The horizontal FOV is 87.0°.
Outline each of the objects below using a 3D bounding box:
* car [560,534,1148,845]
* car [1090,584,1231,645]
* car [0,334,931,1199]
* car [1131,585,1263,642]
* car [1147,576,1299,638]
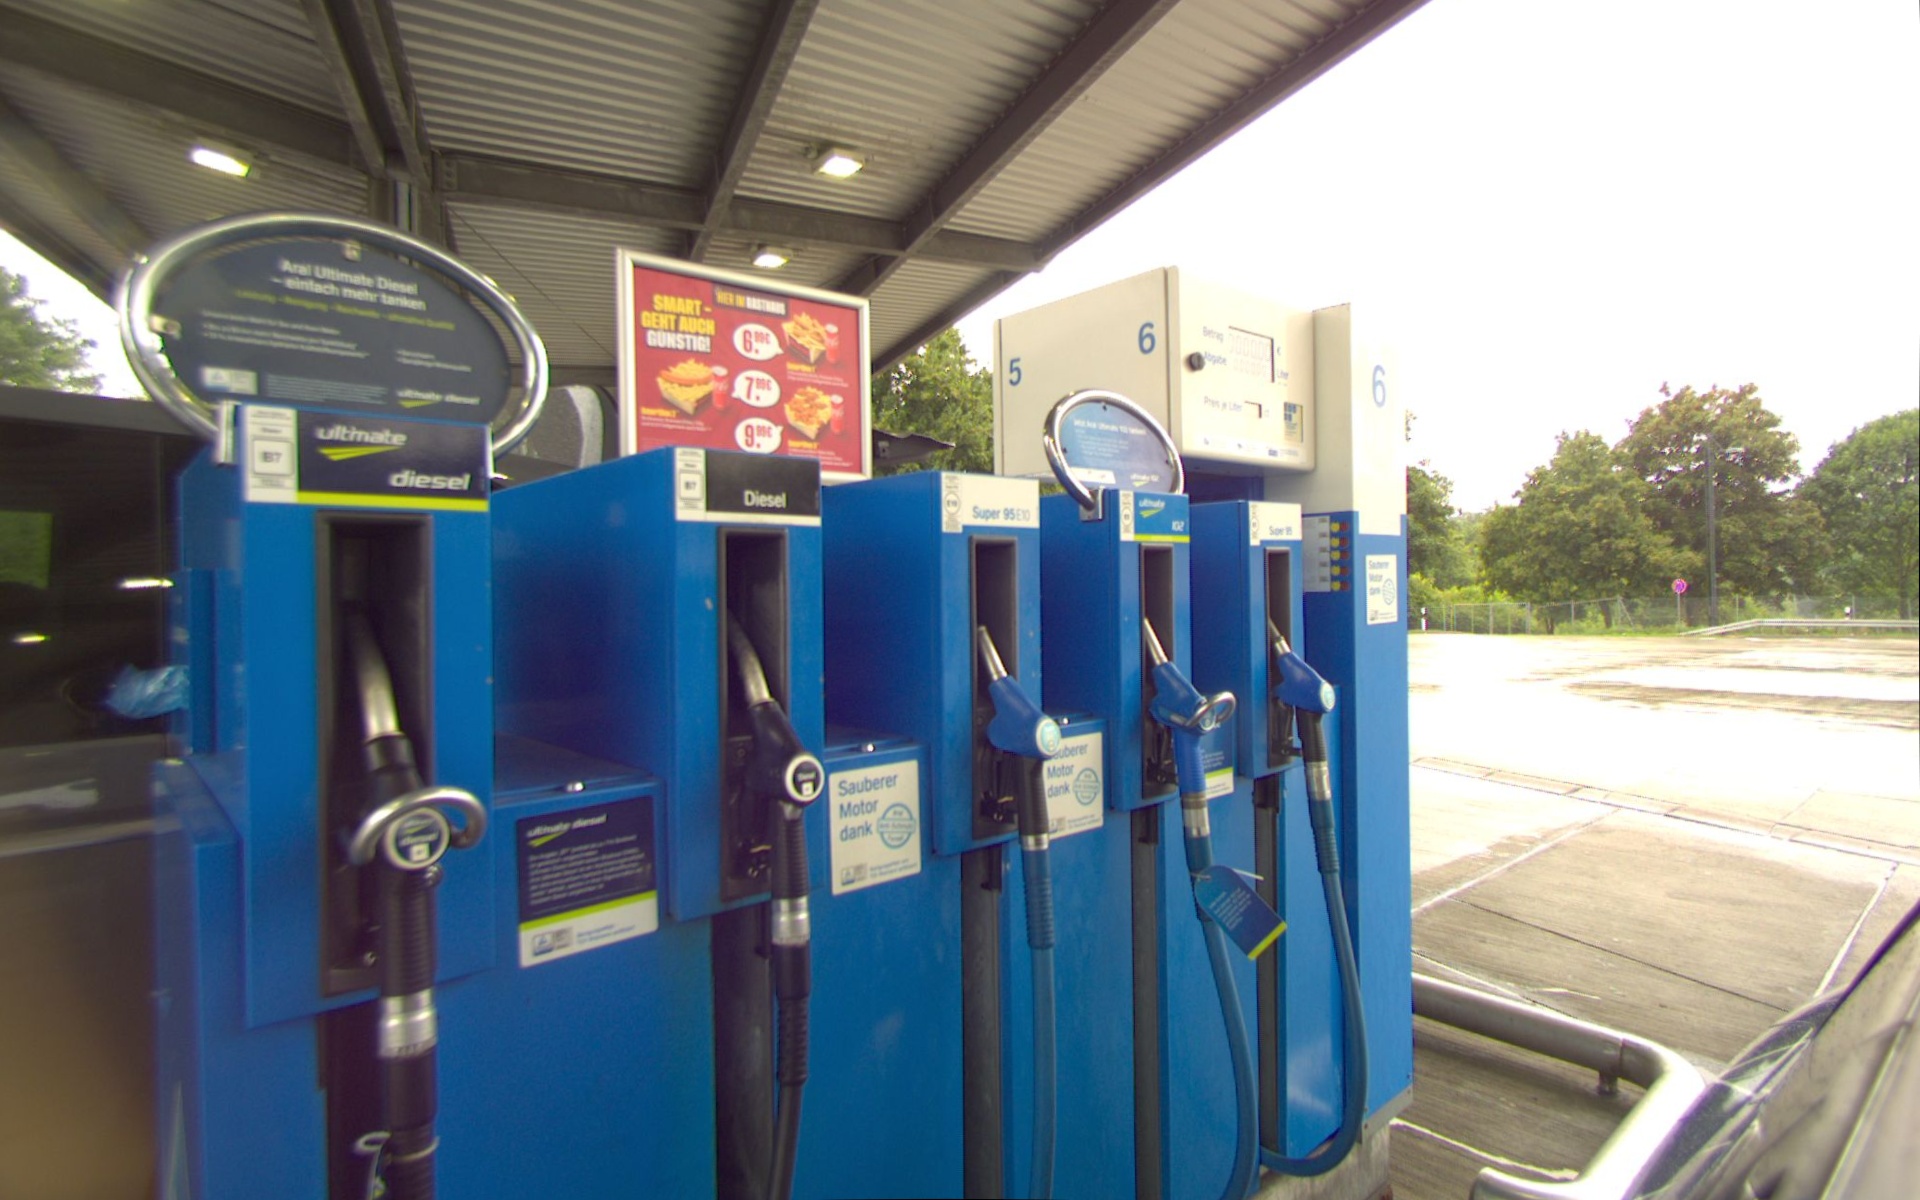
[{"bbox_3d":[-0.630,0.497,8.126,4.461,1.821,1.864,-1,0,-41],"label":"car"},{"bbox_3d":[5.883,0.378,29.733,3.941,1.680,1.593,1,0,14],"label":"car"},{"bbox_3d":[-2.589,0.505,1.821,5.050,1.821,1.864,-1,0,-41],"label":"car"},{"bbox_3d":[7.437,0.390,31.924,3.941,1.680,1.593,1,0,14],"label":"car"},{"bbox_3d":[8.899,0.212,34.507,4.817,1.974,2.306,1,1,14],"label":"car"}]
